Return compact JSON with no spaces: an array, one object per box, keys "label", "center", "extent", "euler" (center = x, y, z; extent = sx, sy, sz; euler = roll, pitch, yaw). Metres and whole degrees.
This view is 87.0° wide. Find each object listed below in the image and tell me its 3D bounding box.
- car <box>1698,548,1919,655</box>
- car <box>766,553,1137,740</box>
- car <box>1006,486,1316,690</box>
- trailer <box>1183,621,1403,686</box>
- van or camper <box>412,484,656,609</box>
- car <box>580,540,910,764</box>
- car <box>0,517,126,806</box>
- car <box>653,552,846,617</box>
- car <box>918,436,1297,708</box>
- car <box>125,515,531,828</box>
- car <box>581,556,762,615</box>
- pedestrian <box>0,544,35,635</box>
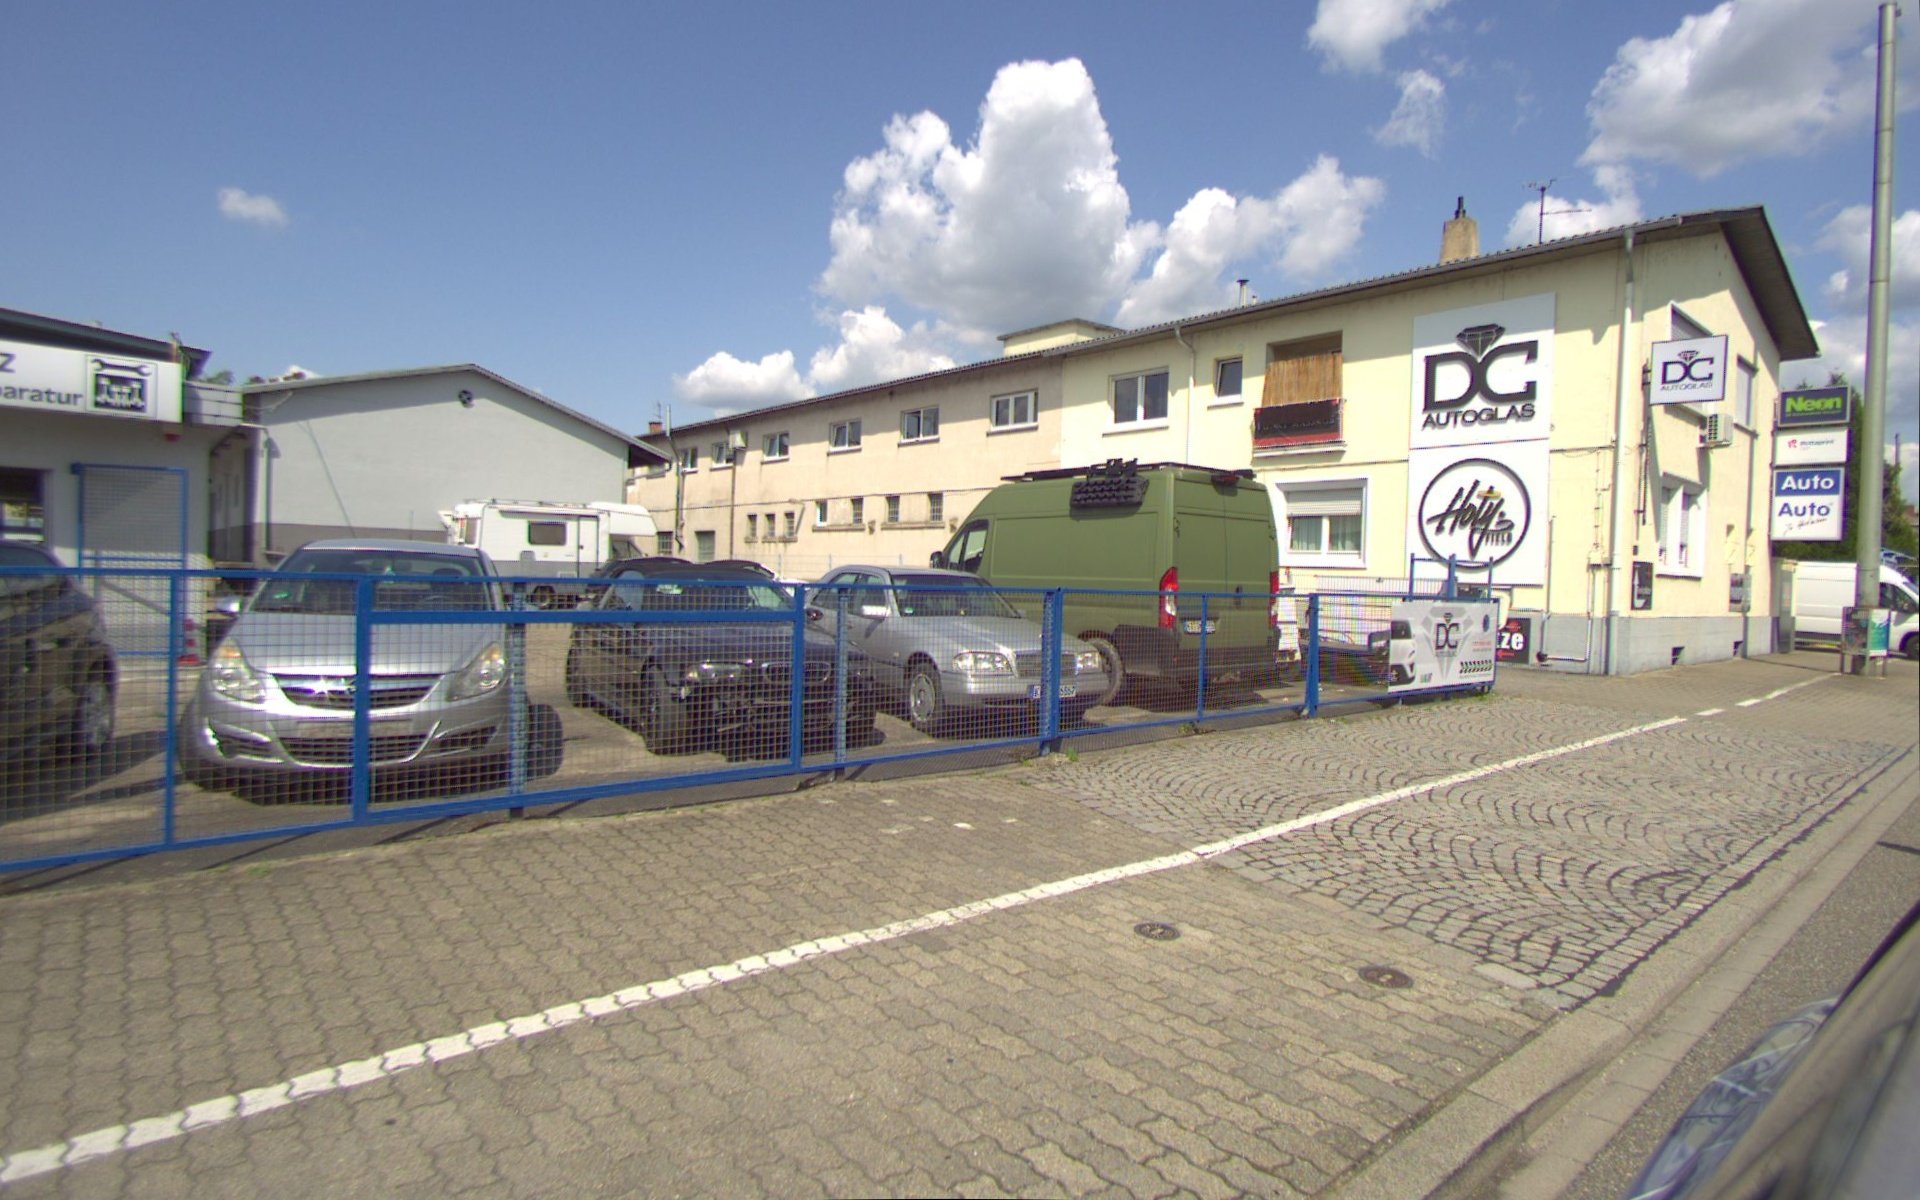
[{"label":"car","center":[23.487,-0.015,26.902],"extent":[2.055,2.493,5.838],"euler":[0,4,-39]},{"label":"car","center":[-0.330,0.286,10.194],"extent":[1.679,1.470,4.292],"euler":[1,2,-33]},{"label":"car","center":[2.646,-0.218,14.231],"extent":[1.557,2.436,4.208],"euler":[1,2,-39]},{"label":"trailer","center":[4.758,0.724,14.642],"extent":[1.307,0.674,2.730],"euler":[0,2,-42]},{"label":"van or camper","center":[-11.295,-1.324,27.102],"extent":[5.556,3.002,2.272],"euler":[0,2,-42]},{"label":"car","center":[-2.120,0.274,8.888],"extent":[1.737,1.470,4.128],"euler":[1,2,-28]},{"label":"car","center":[-5.631,0.303,4.872],"extent":[1.606,1.470,3.700],"euler":[1,2,-25]},{"label":"car","center":[-4.835,-0.348,23.539],"extent":[4.112,1.378,1.645],"euler":[0,2,-41]},{"label":"car","center":[1.596,-0.350,12.247],"extent":[2.075,2.675,4.208],"euler":[1,2,-39]},{"label":"car","center":[-3.890,0.281,6.832],"extent":[1.736,1.470,3.778],"euler":[1,2,-24]},{"label":"car","center":[-7.298,-0.358,25.802],"extent":[4.112,1.378,1.645],"euler":[0,2,-41]},{"label":"pedestrian","center":[-13.153,-0.156,13.873],"extent":[0.652,1.224,0.566],"euler":[1,1,-39]}]
